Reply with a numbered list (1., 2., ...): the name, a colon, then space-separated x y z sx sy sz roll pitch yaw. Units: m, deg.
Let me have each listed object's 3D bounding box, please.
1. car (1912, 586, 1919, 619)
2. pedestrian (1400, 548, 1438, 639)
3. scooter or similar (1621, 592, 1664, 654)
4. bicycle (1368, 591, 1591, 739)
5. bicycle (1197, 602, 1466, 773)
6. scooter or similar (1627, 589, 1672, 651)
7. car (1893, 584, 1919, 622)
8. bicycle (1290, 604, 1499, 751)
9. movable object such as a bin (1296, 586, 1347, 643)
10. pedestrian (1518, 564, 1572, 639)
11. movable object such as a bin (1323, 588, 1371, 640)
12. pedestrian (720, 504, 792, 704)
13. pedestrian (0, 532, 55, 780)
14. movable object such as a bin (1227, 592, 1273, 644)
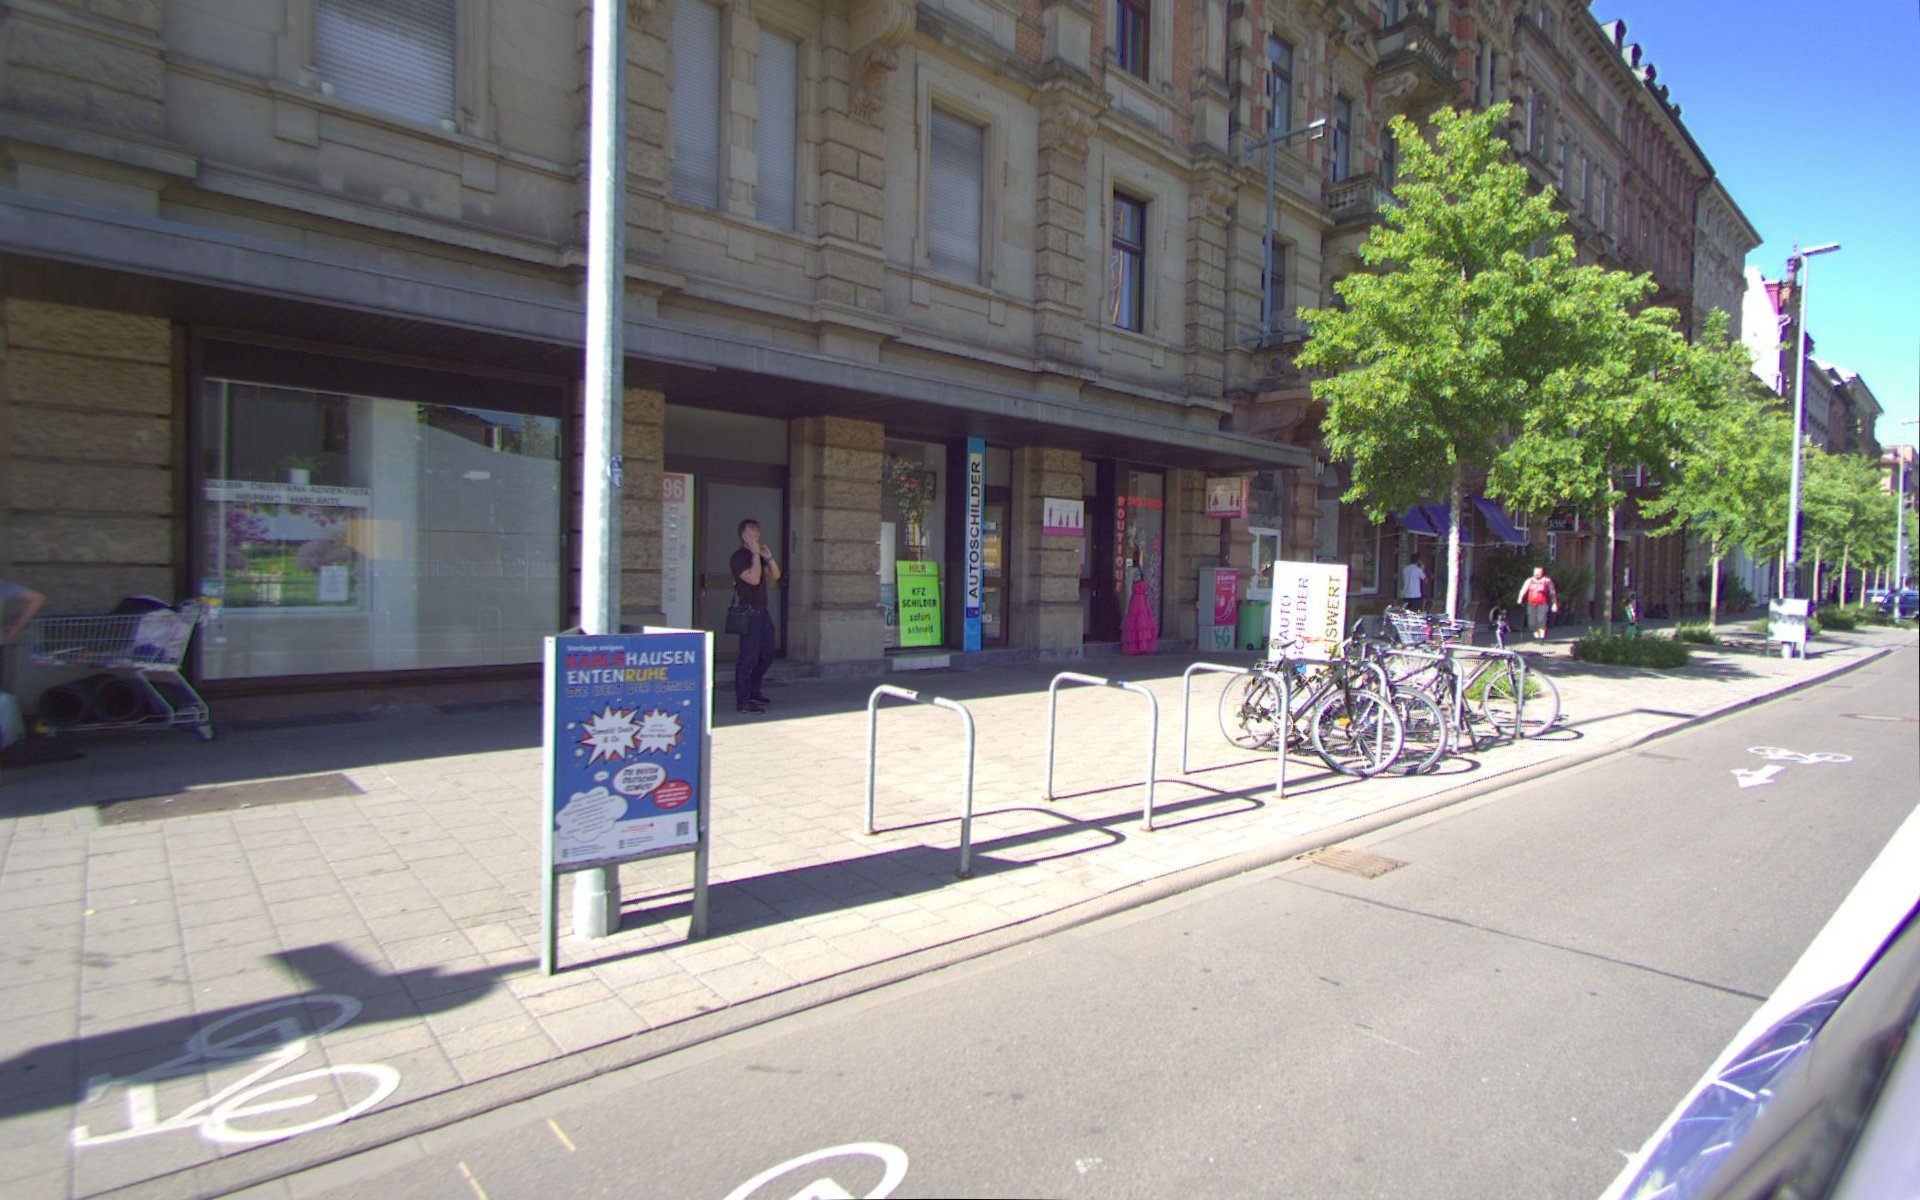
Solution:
1. car: 46.641 0.103 48.147 3.685 1.480 1.667 -1 0 -42
2. pedestrian: 9.600 -0.145 21.172 0.491 1.873 0.513 0 1 -34
3. scooter or similar: 13.601 0.448 20.184 0.283 1.187 0.640 0 1 -19
4. bicycle: 5.308 0.606 10.450 0.680 1.266 1.868 -1 5 -42
5. bicycle: 3.051 0.660 8.531 0.592 1.133 2.053 -1 4 -41
6. scooter or similar: 14.045 0.395 20.621 0.320 1.235 0.676 0 1 -19
7. car: 42.039 0.102 44.106 3.685 1.603 1.667 -1 0 -42
8. bicycle: 4.055 0.676 9.525 1.662 1.123 0.594 5 5 41
9. movable object such as a bin: 6.978 0.264 19.550 0.576 1.025 0.693 -1 4 -37
10. pedestrian: 13.022 0.013 22.542 0.794 1.603 0.753 0 4 -42
11. movable object such as a bin: 7.615 0.270 19.932 0.576 0.986 0.692 -1 1 -37
12. pedestrian: -1.925 0.029 9.535 0.491 1.824 0.513 0 1 -34
13. pedestrian: -5.731 0.310 5.913 0.637 1.411 0.574 -1 4 -43
14. movable object such as a bin: 5.162 0.309 18.026 0.467 0.876 0.606 -1 4 -37
